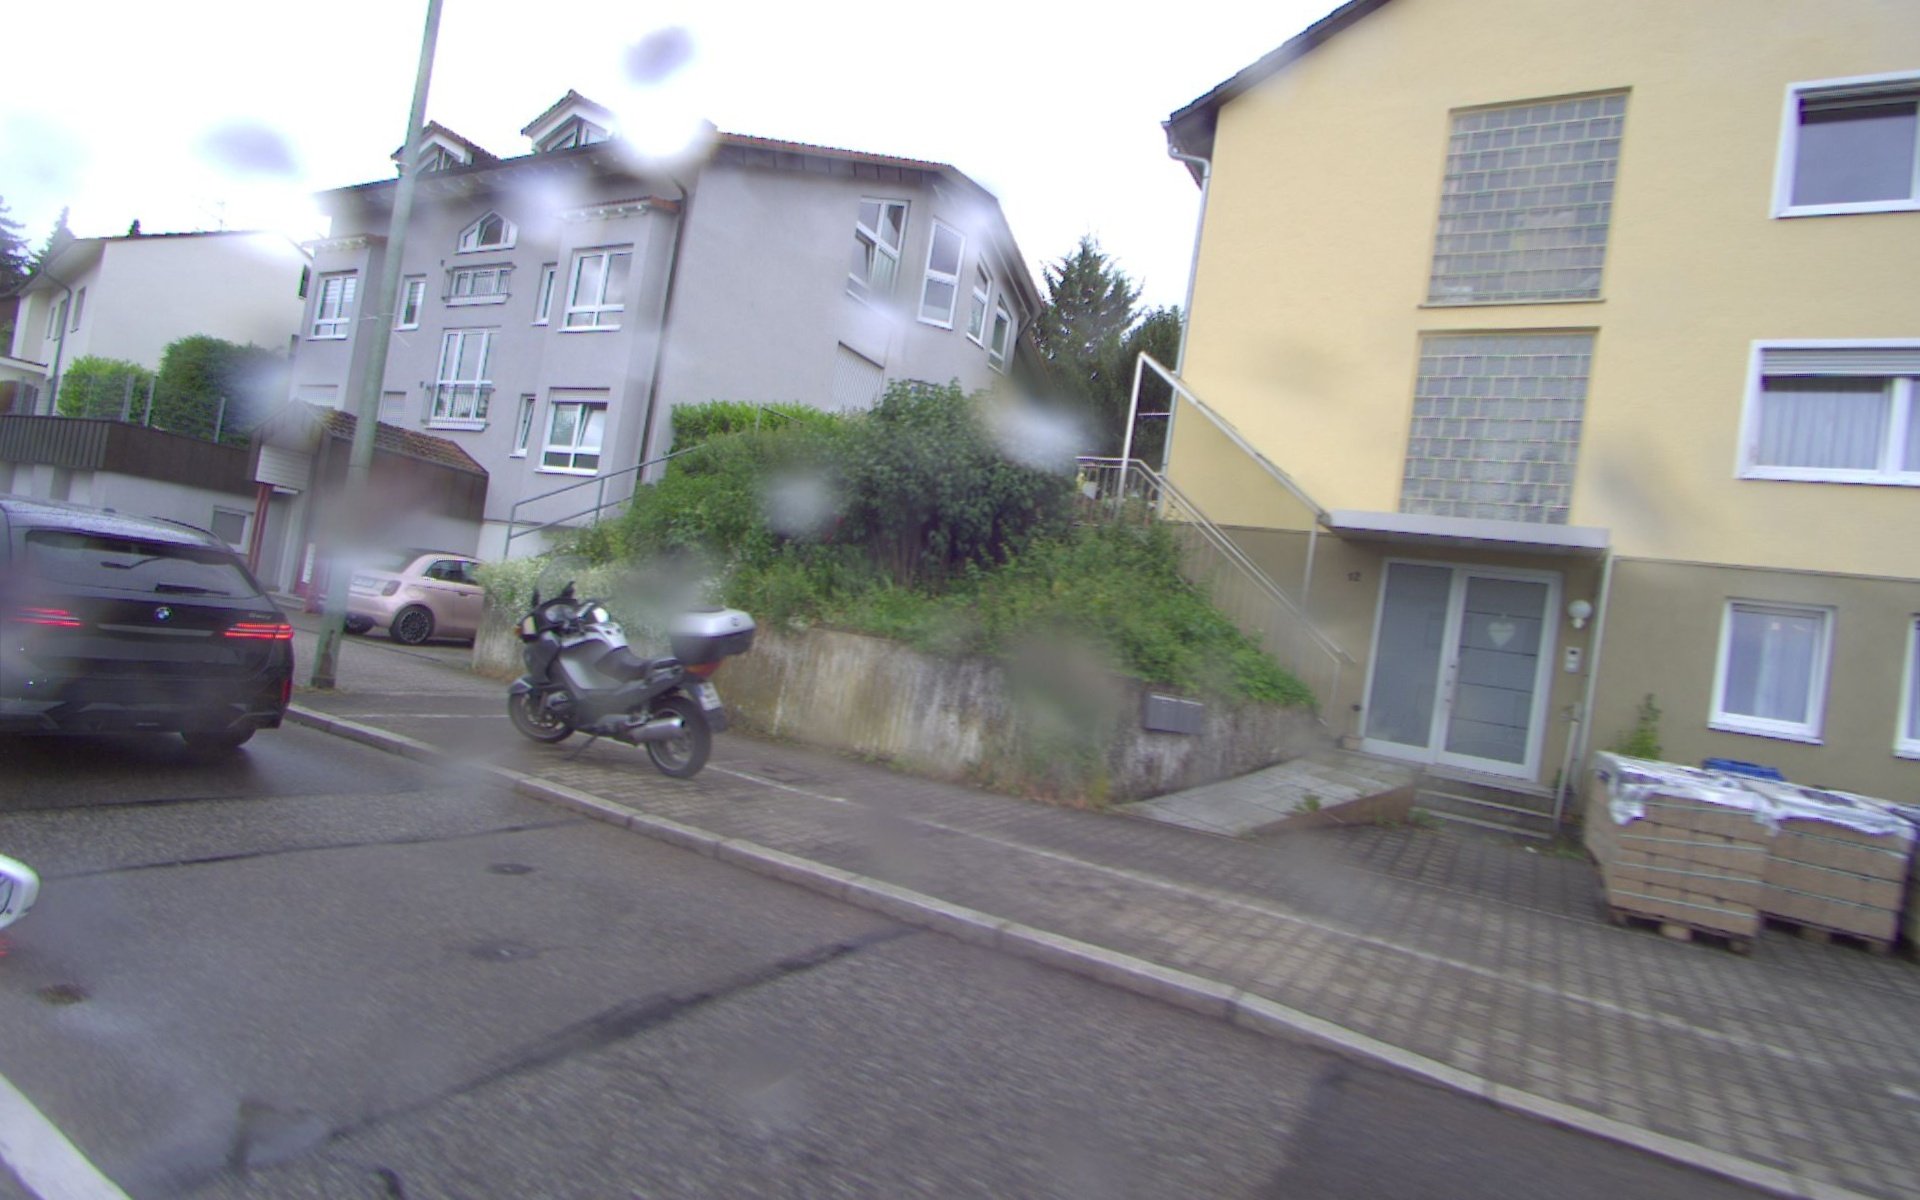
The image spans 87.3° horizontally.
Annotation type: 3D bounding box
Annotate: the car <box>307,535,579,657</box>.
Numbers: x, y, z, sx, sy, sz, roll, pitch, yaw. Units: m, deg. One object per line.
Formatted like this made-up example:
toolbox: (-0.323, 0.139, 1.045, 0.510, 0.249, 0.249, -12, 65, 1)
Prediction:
car: (-8.652, 0.003, 17.155, 1.781, 1.502, 3.644, 7, -2, 27)

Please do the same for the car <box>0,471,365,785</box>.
car: (-6.508, -0.010, 6.947, 4.584, 1.604, 1.999, 7, -3, 30)

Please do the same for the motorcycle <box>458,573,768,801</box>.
motorcycle: (-2.716, 0.604, 7.737, 2.437, 1.340, 0.693, 7, 0, 30)
